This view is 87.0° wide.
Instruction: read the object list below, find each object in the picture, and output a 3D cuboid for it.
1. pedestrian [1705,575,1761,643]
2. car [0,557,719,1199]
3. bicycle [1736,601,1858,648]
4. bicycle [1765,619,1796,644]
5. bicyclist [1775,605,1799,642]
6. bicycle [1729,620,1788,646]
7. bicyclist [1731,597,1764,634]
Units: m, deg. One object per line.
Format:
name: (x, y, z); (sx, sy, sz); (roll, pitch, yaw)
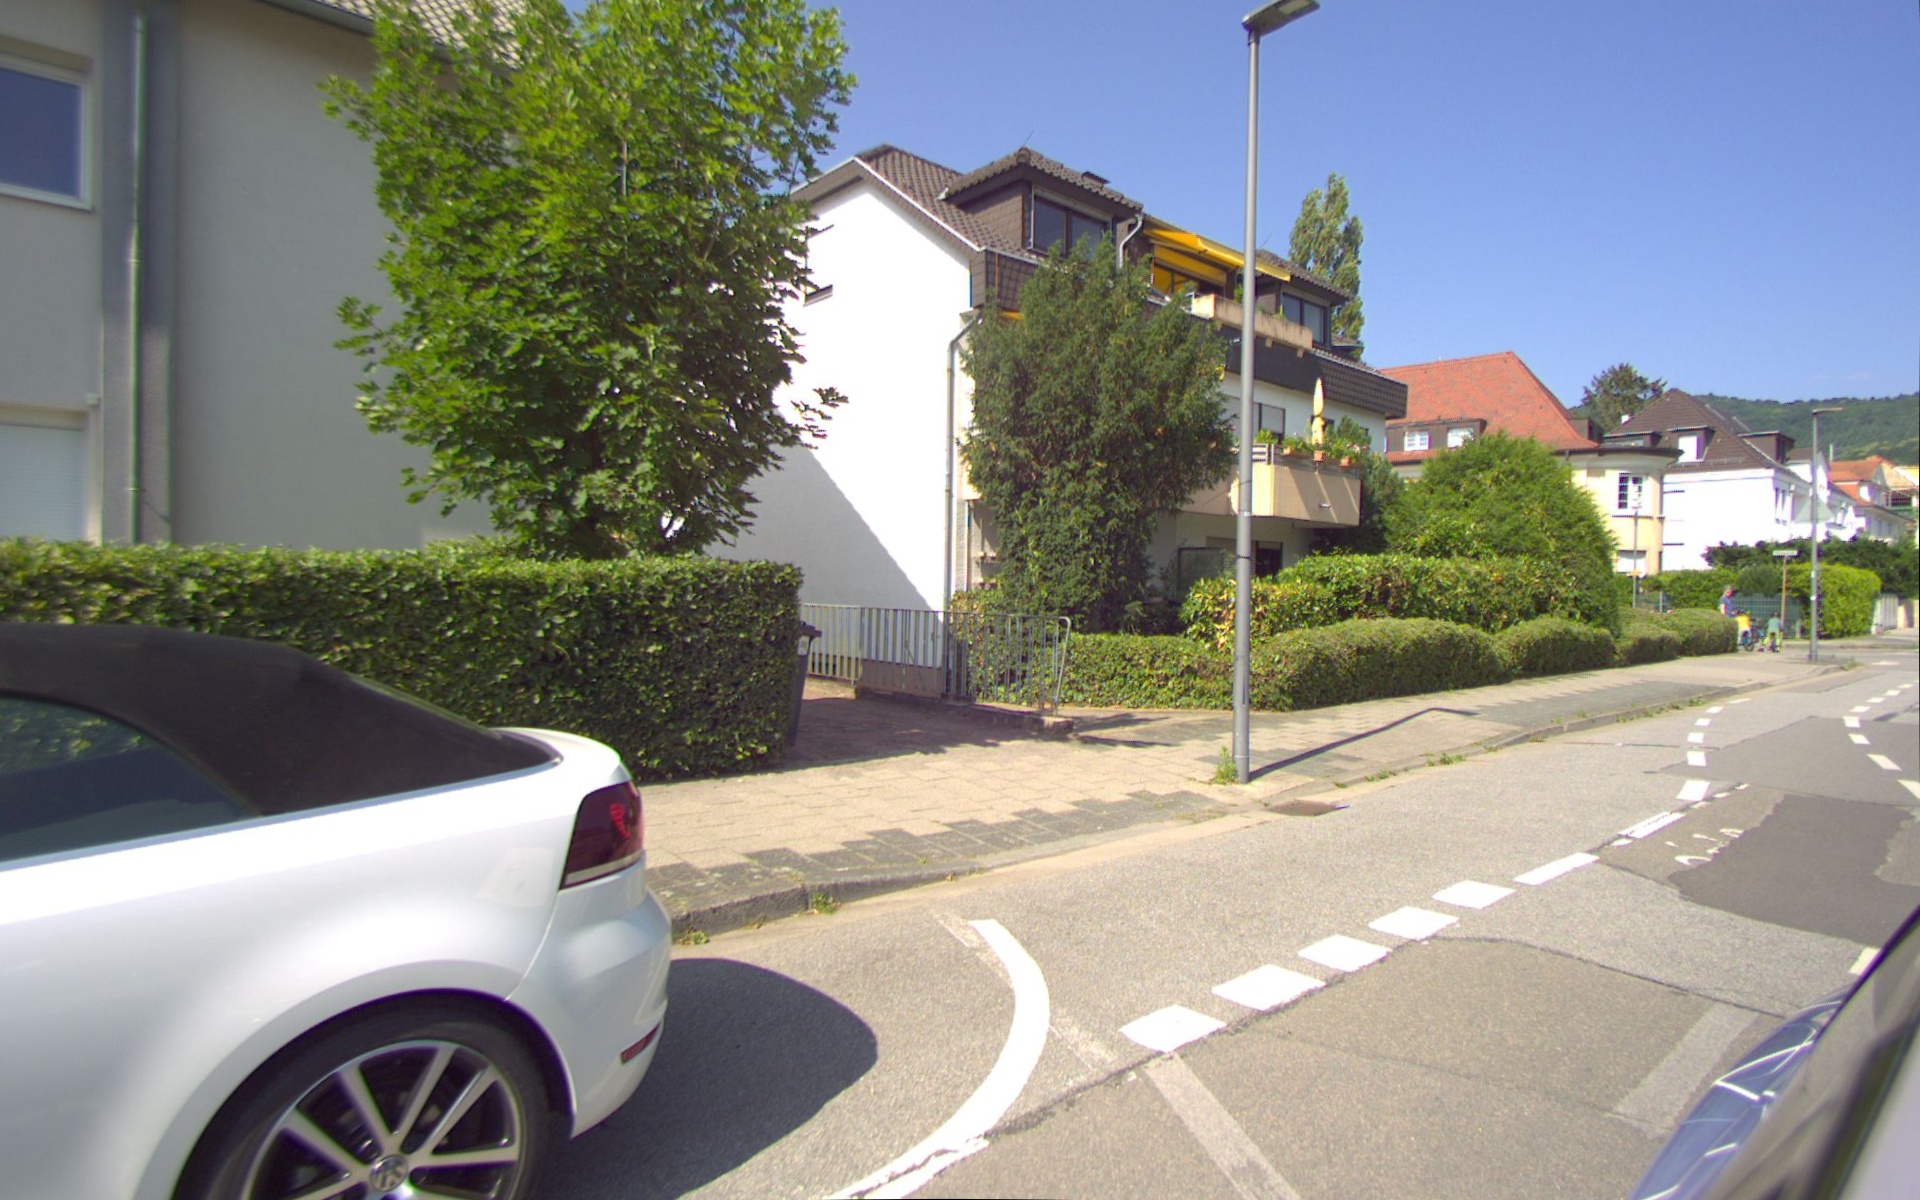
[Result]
pedestrian: (22.018, 0.245, 28.859); (0.889, 1.896, 1.183); (0, 1, 17)
car: (-2.630, 0.659, 1.688); (4.003, 1.420, 1.743); (0, -1, -41)
bicycle: (22.946, 0.649, 27.845); (0.846, 1.173, 2.716); (0, 1, -8)
bicycle: (22.066, 0.829, 27.238); (0.398, 0.607, 1.162); (1, 1, 27)
bicyclist: (21.971, 0.616, 26.896); (0.399, 0.941, 0.650); (1, 1, 32)
bicycle: (21.023, 0.863, 26.644); (0.394, 0.607, 1.152); (0, 1, -33)
bicyclist: (20.936, 0.400, 26.913); (0.392, 0.945, 0.609); (0, 1, -33)
